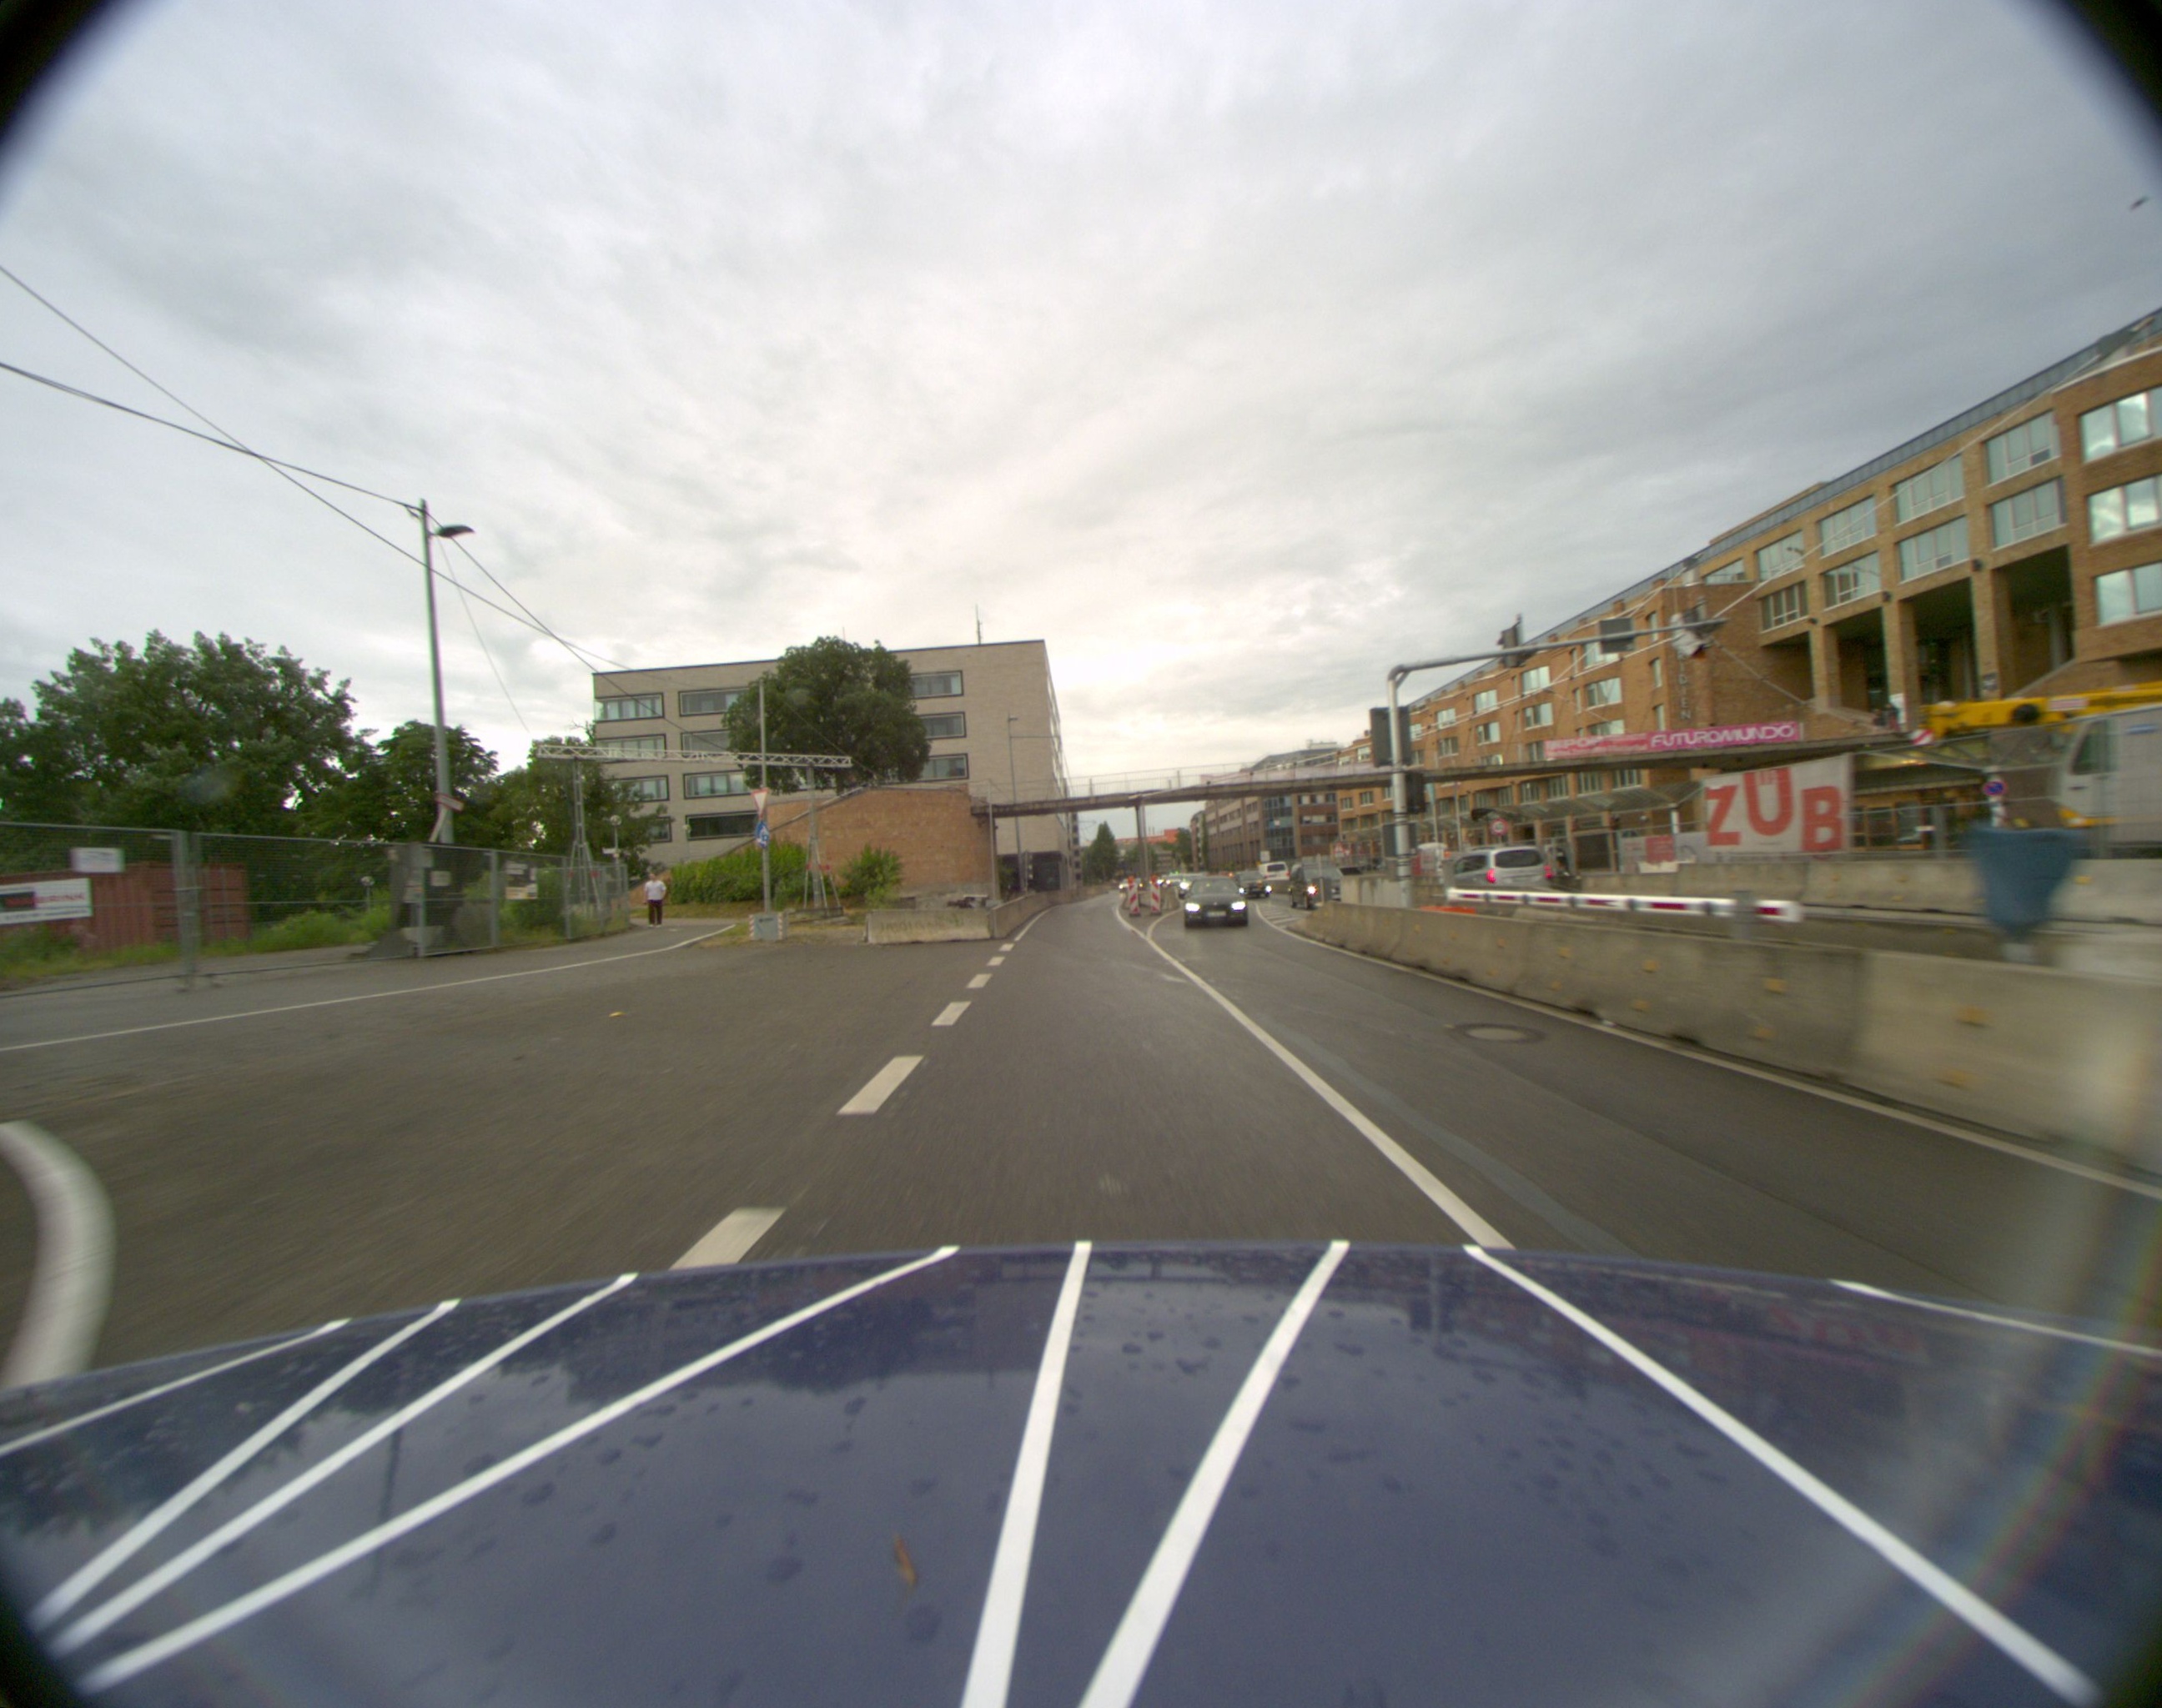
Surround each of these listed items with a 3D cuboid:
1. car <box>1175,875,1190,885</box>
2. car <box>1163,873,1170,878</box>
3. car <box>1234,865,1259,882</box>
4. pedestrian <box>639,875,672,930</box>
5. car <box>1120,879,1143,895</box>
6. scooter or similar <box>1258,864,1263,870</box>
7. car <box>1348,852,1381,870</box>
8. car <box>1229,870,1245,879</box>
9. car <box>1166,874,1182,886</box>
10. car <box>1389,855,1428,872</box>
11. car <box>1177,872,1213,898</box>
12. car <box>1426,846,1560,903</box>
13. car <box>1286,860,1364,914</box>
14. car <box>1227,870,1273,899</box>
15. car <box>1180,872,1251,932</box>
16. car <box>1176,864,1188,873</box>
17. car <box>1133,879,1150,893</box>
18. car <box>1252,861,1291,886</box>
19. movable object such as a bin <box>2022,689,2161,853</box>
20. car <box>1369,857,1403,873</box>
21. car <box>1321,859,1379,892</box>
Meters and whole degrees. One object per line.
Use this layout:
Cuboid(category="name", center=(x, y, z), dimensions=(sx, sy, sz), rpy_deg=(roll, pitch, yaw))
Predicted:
Cuboid(category="car", center=(16.395, 4.226, 122.603), dimensions=(1.772, 1.524, 4.658), rpy_deg=(-4, -2, 1))
Cuboid(category="car", center=(28.309, 7.128, 252.784), dimensions=(1.890, 1.772, 4.879), rpy_deg=(-4, -2, 2))
Cuboid(category="car", center=(16.840, 1.979, 77.435), dimensions=(1.810, 1.613, 3.905), rpy_deg=(-4, -1, 4))
Cuboid(category="pedestrian", center=(-14.063, 1.585, 25.129), dimensions=(0.692, 1.767, 0.814), rpy_deg=(-3, 0, -16))
Cuboid(category="car", center=(5.698, 3.680, 85.595), dimensions=(1.770, 1.524, 4.661), rpy_deg=(-5, -2, 13))
Cuboid(category="scooter or similar", center=(31.273, 2.290, 132.400), dimensions=(0.450, 1.056, 1.044), rpy_deg=(-4, -1, -10))
Cuboid(category="car", center=(34.944, 0.899, 93.822), dimensions=(1.999, 1.874, 5.015), rpy_deg=(-4, -2, -1))
Cuboid(category="car", center=(26.786, 3.484, 130.309), dimensions=(1.764, 1.517, 4.365), rpy_deg=(-3, -2, 0))
Cuboid(category="car", center=(12.422, 3.479, 101.686), dimensions=(1.772, 1.524, 4.659), rpy_deg=(-4, -2, 4))
Cuboid(category="car", center=(34.935, 1.039, 81.197), dimensions=(1.998, 1.680, 5.051), rpy_deg=(-4, -2, 1))
Cuboid(category="car", center=(7.364, 1.989, 49.405), dimensions=(1.772, 1.524, 4.658), rpy_deg=(-4, -2, 3))
Cuboid(category="car", center=(12.739, 0.636, 23.843), dimensions=(1.751, 1.540, 4.525), rpy_deg=(-3, -1, 1))
Cuboid(category="car", center=(9.329, 1.240, 29.392), dimensions=(1.798, 1.789, 4.253), rpy_deg=(-5, -1, 4))
Cuboid(category="car", center=(10.191, 1.827, 46.117), dimensions=(1.772, 1.524, 4.357), rpy_deg=(-4, -2, 1))
Cuboid(category="car", center=(4.136, 1.361, 22.832), dimensions=(1.771, 1.434, 4.661), rpy_deg=(-5, -2, 12))
Cuboid(category="car", center=(24.032, 3.490, 180.594), dimensions=(1.998, 1.873, 4.871), rpy_deg=(-4, -2, 0))
Cuboid(category="car", center=(7.712, 4.077, 97.358), dimensions=(1.772, 1.524, 4.657), rpy_deg=(-4, -2, 0))
Cuboid(category="car", center=(14.986, 1.560, 60.025), dimensions=(1.810, 1.810, 5.303), rpy_deg=(-4, -2, 1))
Cuboid(category="movable object such as a bin", center=(16.190, -1.211, 10.079), dimensions=(2.032, 2.263, 4.293), rpy_deg=(-1, -1, -1))
Cuboid(category="car", center=(34.807, 1.261, 86.783), dimensions=(1.998, 1.584, 4.542), rpy_deg=(-4, -2, 1))
Cuboid(category="car", center=(14.398, 1.178, 40.879), dimensions=(1.810, 1.613, 4.036), rpy_deg=(-4, -2, 4))
